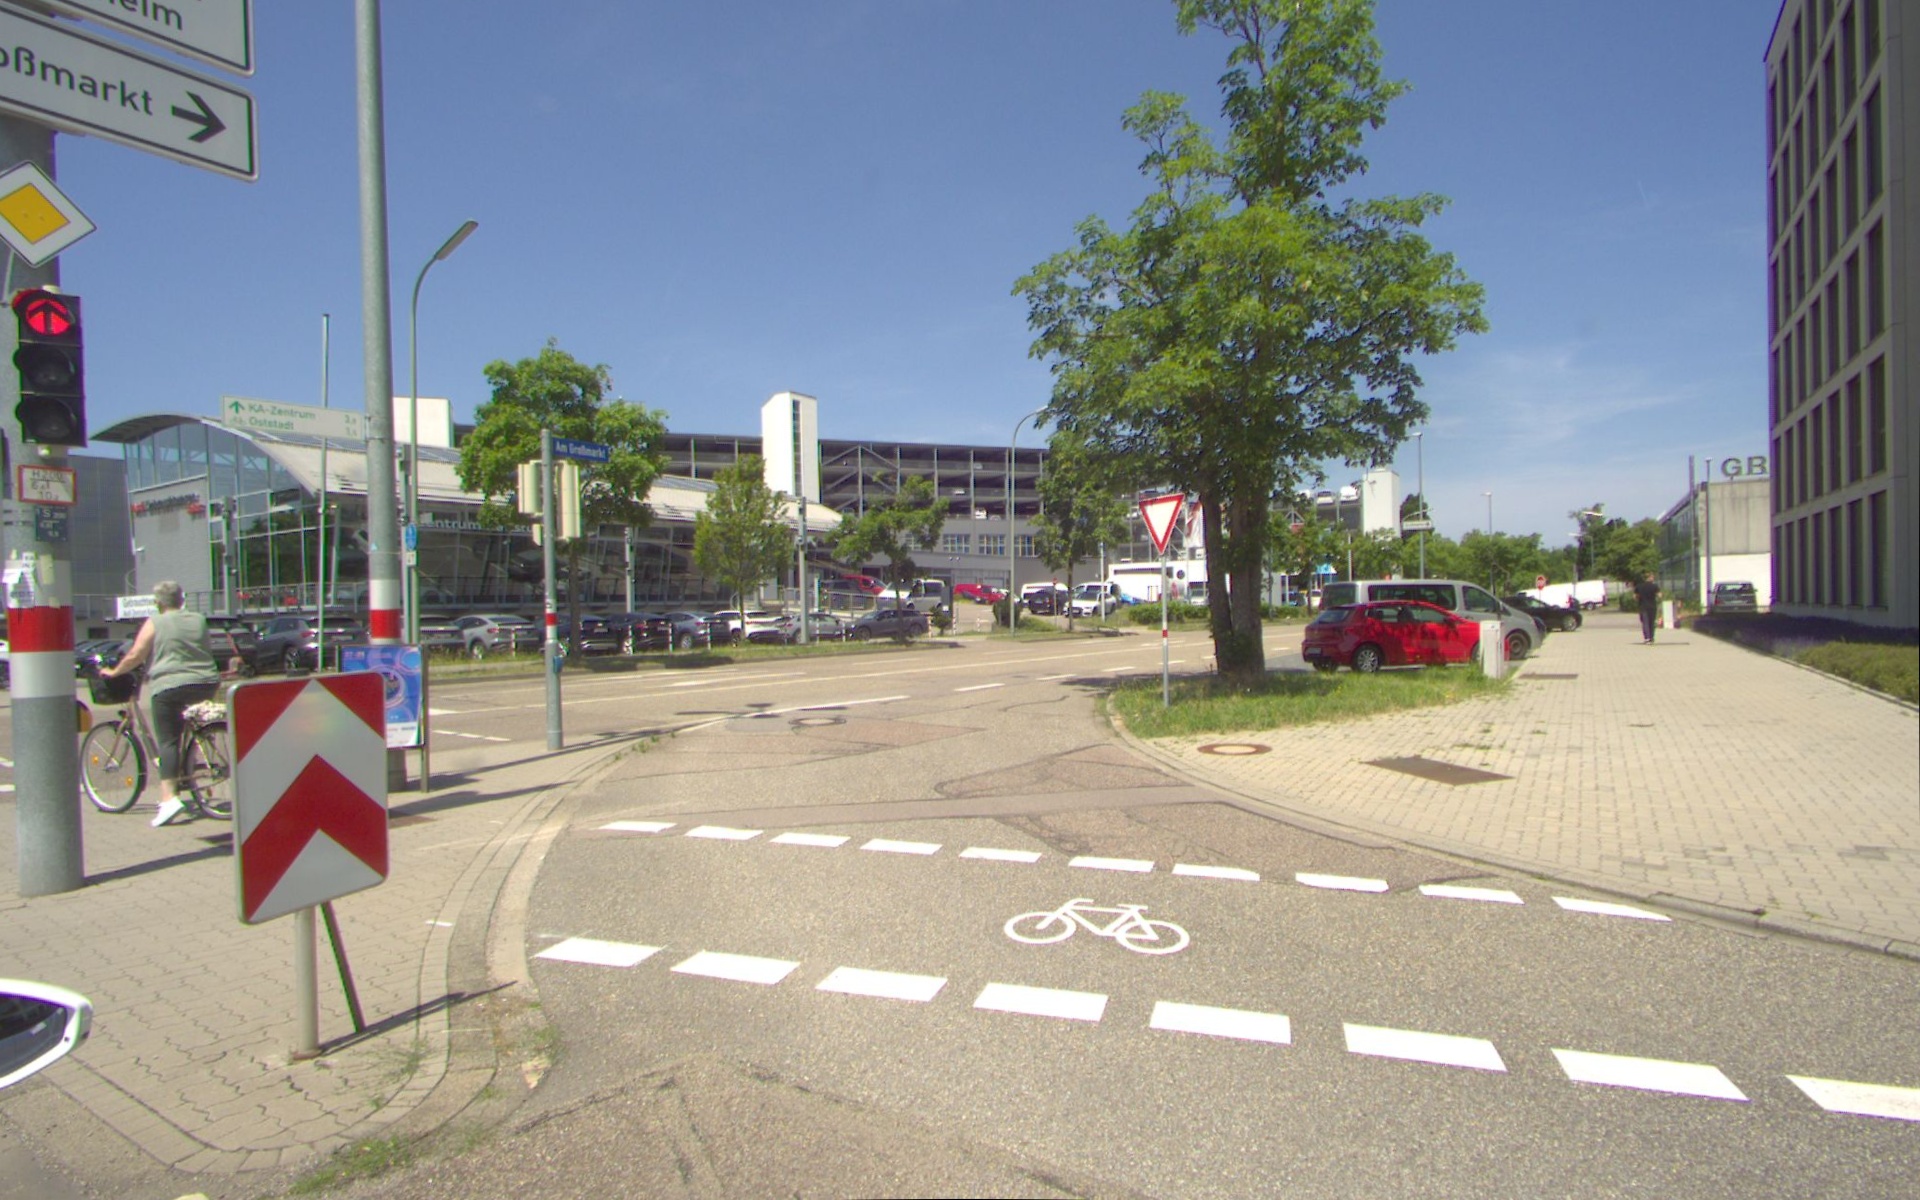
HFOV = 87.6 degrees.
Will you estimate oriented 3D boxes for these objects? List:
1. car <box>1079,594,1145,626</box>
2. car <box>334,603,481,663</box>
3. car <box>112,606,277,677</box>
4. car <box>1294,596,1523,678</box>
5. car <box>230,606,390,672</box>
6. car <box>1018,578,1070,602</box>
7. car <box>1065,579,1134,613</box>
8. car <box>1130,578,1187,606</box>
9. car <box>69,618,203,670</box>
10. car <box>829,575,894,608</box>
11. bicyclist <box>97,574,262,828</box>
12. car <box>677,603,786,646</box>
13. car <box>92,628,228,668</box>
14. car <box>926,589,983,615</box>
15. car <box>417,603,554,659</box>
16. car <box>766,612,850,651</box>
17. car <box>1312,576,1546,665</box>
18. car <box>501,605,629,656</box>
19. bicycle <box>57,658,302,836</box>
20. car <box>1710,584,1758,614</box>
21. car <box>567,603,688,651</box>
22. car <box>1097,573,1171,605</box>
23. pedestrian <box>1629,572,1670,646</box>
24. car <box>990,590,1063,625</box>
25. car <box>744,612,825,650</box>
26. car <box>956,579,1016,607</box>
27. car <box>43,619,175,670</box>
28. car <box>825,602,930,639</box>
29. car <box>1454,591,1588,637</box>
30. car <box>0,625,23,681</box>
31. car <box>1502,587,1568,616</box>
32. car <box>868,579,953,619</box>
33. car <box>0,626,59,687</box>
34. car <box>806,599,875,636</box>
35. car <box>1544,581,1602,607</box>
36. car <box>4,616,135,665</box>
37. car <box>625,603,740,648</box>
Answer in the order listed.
[{"bbox_3d":[10.148,0.669,66.938,3.943,2.040,1.989,-1,0,32],"label":"car"},{"bbox_3d":[-16.648,0.963,30.121,4.377,1.661,1.989,-1,1,32],"label":"car"},{"bbox_3d":[-19.409,0.995,25.360,4.207,1.661,1.989,-1,0,32],"label":"car"},{"bbox_3d":[8.958,0.704,20.134,3.924,1.454,1.609,-2,0,-8],"label":"car"},{"bbox_3d":[-17.901,1.015,27.540,4.492,1.661,1.989,-1,0,32],"label":"car"},{"bbox_3d":[7.717,-0.912,92.104,4.257,2.040,1.989,-1,0,32],"label":"car"},{"bbox_3d":[8.859,-0.235,63.577,3.943,2.040,1.840,-1,0,32],"label":"car"},{"bbox_3d":[15.510,-0.631,78.277,3.945,2.040,1.988,-1,0,34],"label":"car"},{"bbox_3d":[-34.900,1.818,42.520,1.972,2.040,3.977,-1,0,33],"label":"car"},{"bbox_3d":[-6.631,-0.555,67.464,3.937,2.040,1.992,-1,0,27],"label":"car"},{"bbox_3d":[-5.833,0.714,7.498,0.742,1.772,0.733,0,0,28],"label":"bicyclist"},{"bbox_3d":[-9.448,0.975,41.356,4.410,1.662,1.823,-1,1,32],"label":"car"},{"bbox_3d":[-32.925,1.928,41.323,1.694,1.480,4.083,0,0,33],"label":"car"},{"bbox_3d":[-0.395,0.173,74.427,3.943,1.810,1.730,-1,0,32],"label":"car"},{"bbox_3d":[-15.231,0.961,32.074,4.460,1.662,1.881,-1,1,32],"label":"car"},{"bbox_3d":[-7.475,1.517,49.285,3.659,1.801,1.739,-1,0,-31],"label":"car"},{"bbox_3d":[10.848,0.438,23.241,4.814,1.840,1.703,-2,2,-10],"label":"car"},{"bbox_3d":[-13.627,1.018,34.465,4.410,1.662,1.823,-1,1,32],"label":"car"},{"bbox_3d":[-5.919,1.038,7.577,1.891,1.142,0.786,0,0,29],"label":"bicycle"},{"bbox_3d":[42.080,-0.045,54.492,1.765,1.542,3.556,-2,0,33],"label":"car"},{"bbox_3d":[-12.236,0.961,36.802,4.410,1.662,1.823,-1,1,32],"label":"car"},{"bbox_3d":[11.972,-0.757,68.917,4.578,2.040,1.989,-1,0,32],"label":"car"},{"bbox_3d":[18.020,0.237,26.167,0.764,1.869,0.861,-2,0,40],"label":"pedestrian"},{"bbox_3d":[4.051,0.487,61.031,3.943,2.040,1.989,-1,0,32],"label":"car"},{"bbox_3d":[-8.998,1.566,51.378,3.712,1.795,1.761,-1,0,-28],"label":"car"},{"bbox_3d":[2.019,-0.532,77.777,4.286,2.040,1.990,-1,0,30],"label":"car"},{"bbox_3d":[-37.277,1.908,43.954,1.972,2.040,3.977,-1,0,33],"label":"car"},{"bbox_3d":[-3.905,0.940,47.644,4.702,1.662,1.821,-1,1,-35],"label":"car"},{"bbox_3d":[21.597,0.552,38.700,4.075,1.558,1.815,-3,-1,2],"label":"car"},{"bbox_3d":[-27.299,1.456,25.493,1.973,1.476,4.729,-2,-1,34],"label":"car"},{"bbox_3d":[41.695,0.126,72.592,3.949,2.040,1.986,-1,0,37],"label":"car"},{"bbox_3d":[-2.592,-0.043,53.989,1.972,2.040,5.117,-1,0,32],"label":"car"},{"bbox_3d":[-25.121,1.423,24.141,1.973,1.476,4.729,0,0,34],"label":"car"},{"bbox_3d":[-6.974,1.003,58.646,1.839,2.040,3.733,-1,0,41],"label":"car"},{"bbox_3d":[55.197,-0.534,90.149,4.304,2.149,2.080,-1,0,36],"label":"car"},{"bbox_3d":[-39.643,1.762,44.665,1.972,2.040,3.977,-1,0,33],"label":"car"},{"bbox_3d":[-10.839,0.964,39.058,4.410,1.662,1.823,-1,1,32],"label":"car"}]
